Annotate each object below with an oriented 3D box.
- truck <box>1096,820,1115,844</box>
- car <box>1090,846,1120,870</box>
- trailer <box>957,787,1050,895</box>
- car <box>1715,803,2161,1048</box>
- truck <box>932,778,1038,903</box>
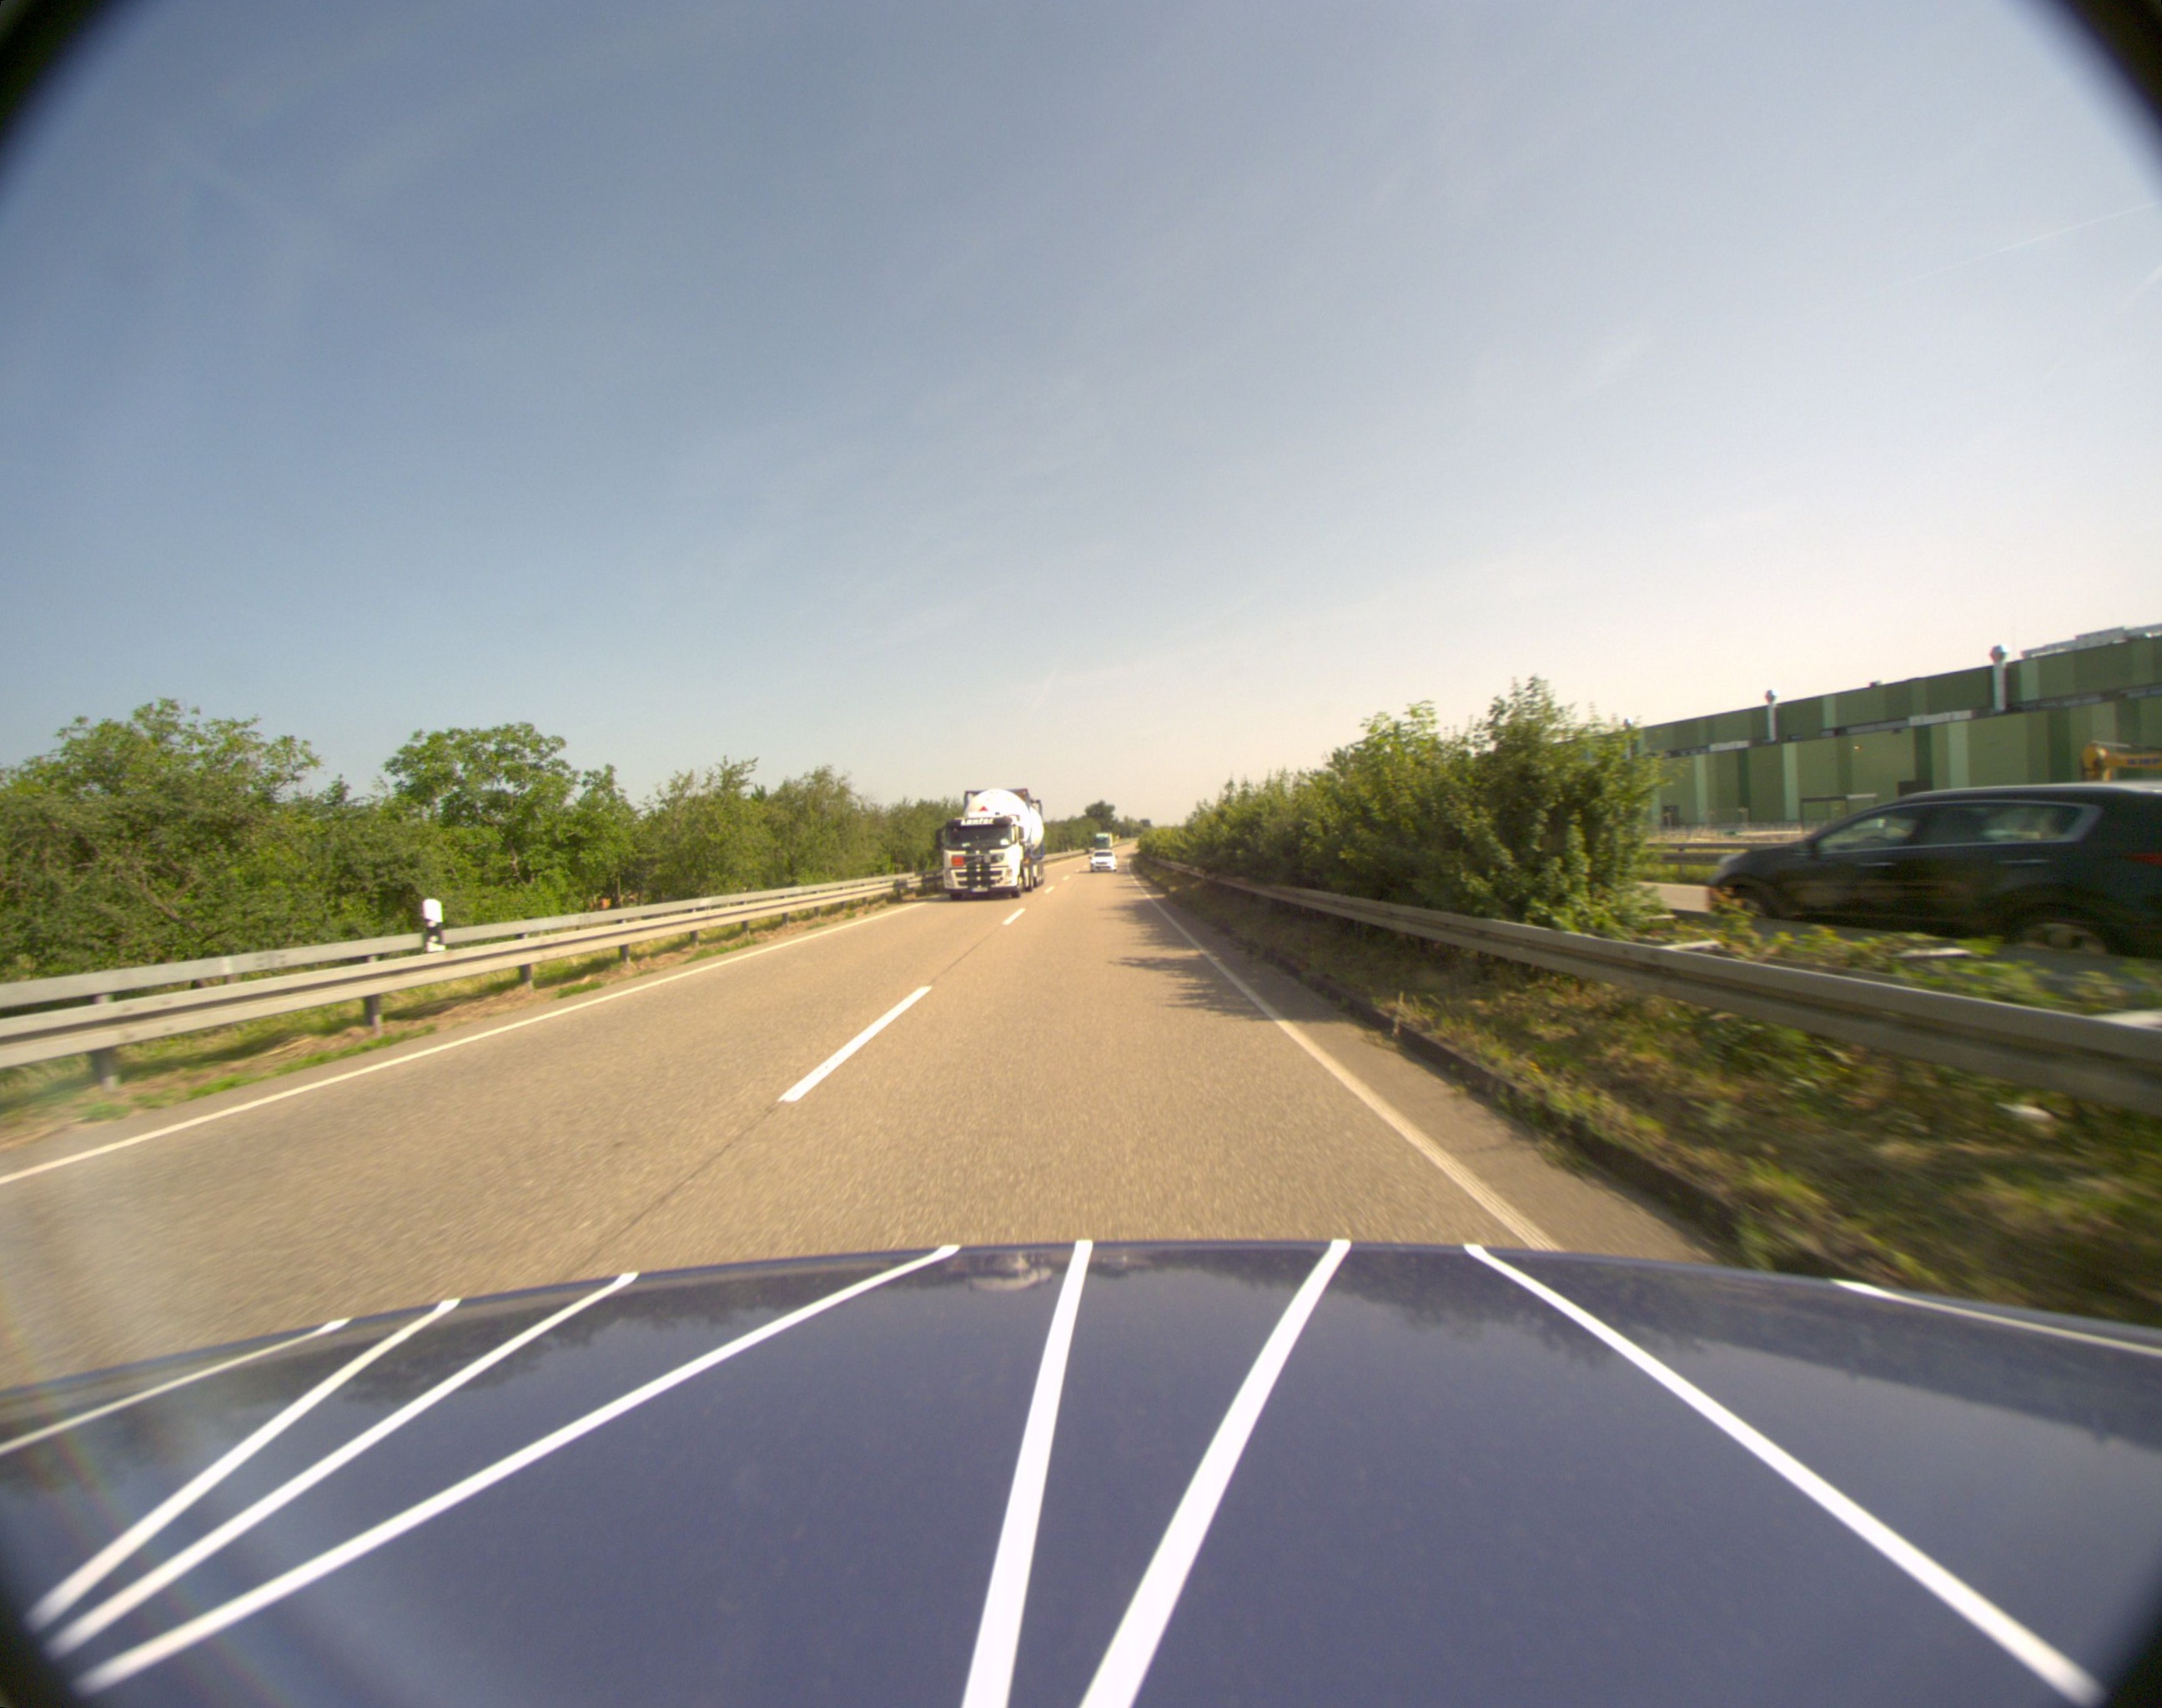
[{"bbox_3d":[4.424,-3.858,133.180,2.547,4.137,8.441,-2,2,6],"label":"truck"},{"bbox_3d":[1.664,0.239,51.082,1.789,1.428,4.000,-2,1,4],"label":"car"},{"bbox_3d":[-3.071,-0.578,32.696,2.763,3.969,8.185,-2,1,2],"label":"trailer"},{"bbox_3d":[7.939,0.425,6.433,1.596,1.613,4.321,-2,1,1],"label":"car"},{"bbox_3d":[-3.255,-0.476,27.254,2.778,3.939,5.627,-2,1,2],"label":"truck"}]
